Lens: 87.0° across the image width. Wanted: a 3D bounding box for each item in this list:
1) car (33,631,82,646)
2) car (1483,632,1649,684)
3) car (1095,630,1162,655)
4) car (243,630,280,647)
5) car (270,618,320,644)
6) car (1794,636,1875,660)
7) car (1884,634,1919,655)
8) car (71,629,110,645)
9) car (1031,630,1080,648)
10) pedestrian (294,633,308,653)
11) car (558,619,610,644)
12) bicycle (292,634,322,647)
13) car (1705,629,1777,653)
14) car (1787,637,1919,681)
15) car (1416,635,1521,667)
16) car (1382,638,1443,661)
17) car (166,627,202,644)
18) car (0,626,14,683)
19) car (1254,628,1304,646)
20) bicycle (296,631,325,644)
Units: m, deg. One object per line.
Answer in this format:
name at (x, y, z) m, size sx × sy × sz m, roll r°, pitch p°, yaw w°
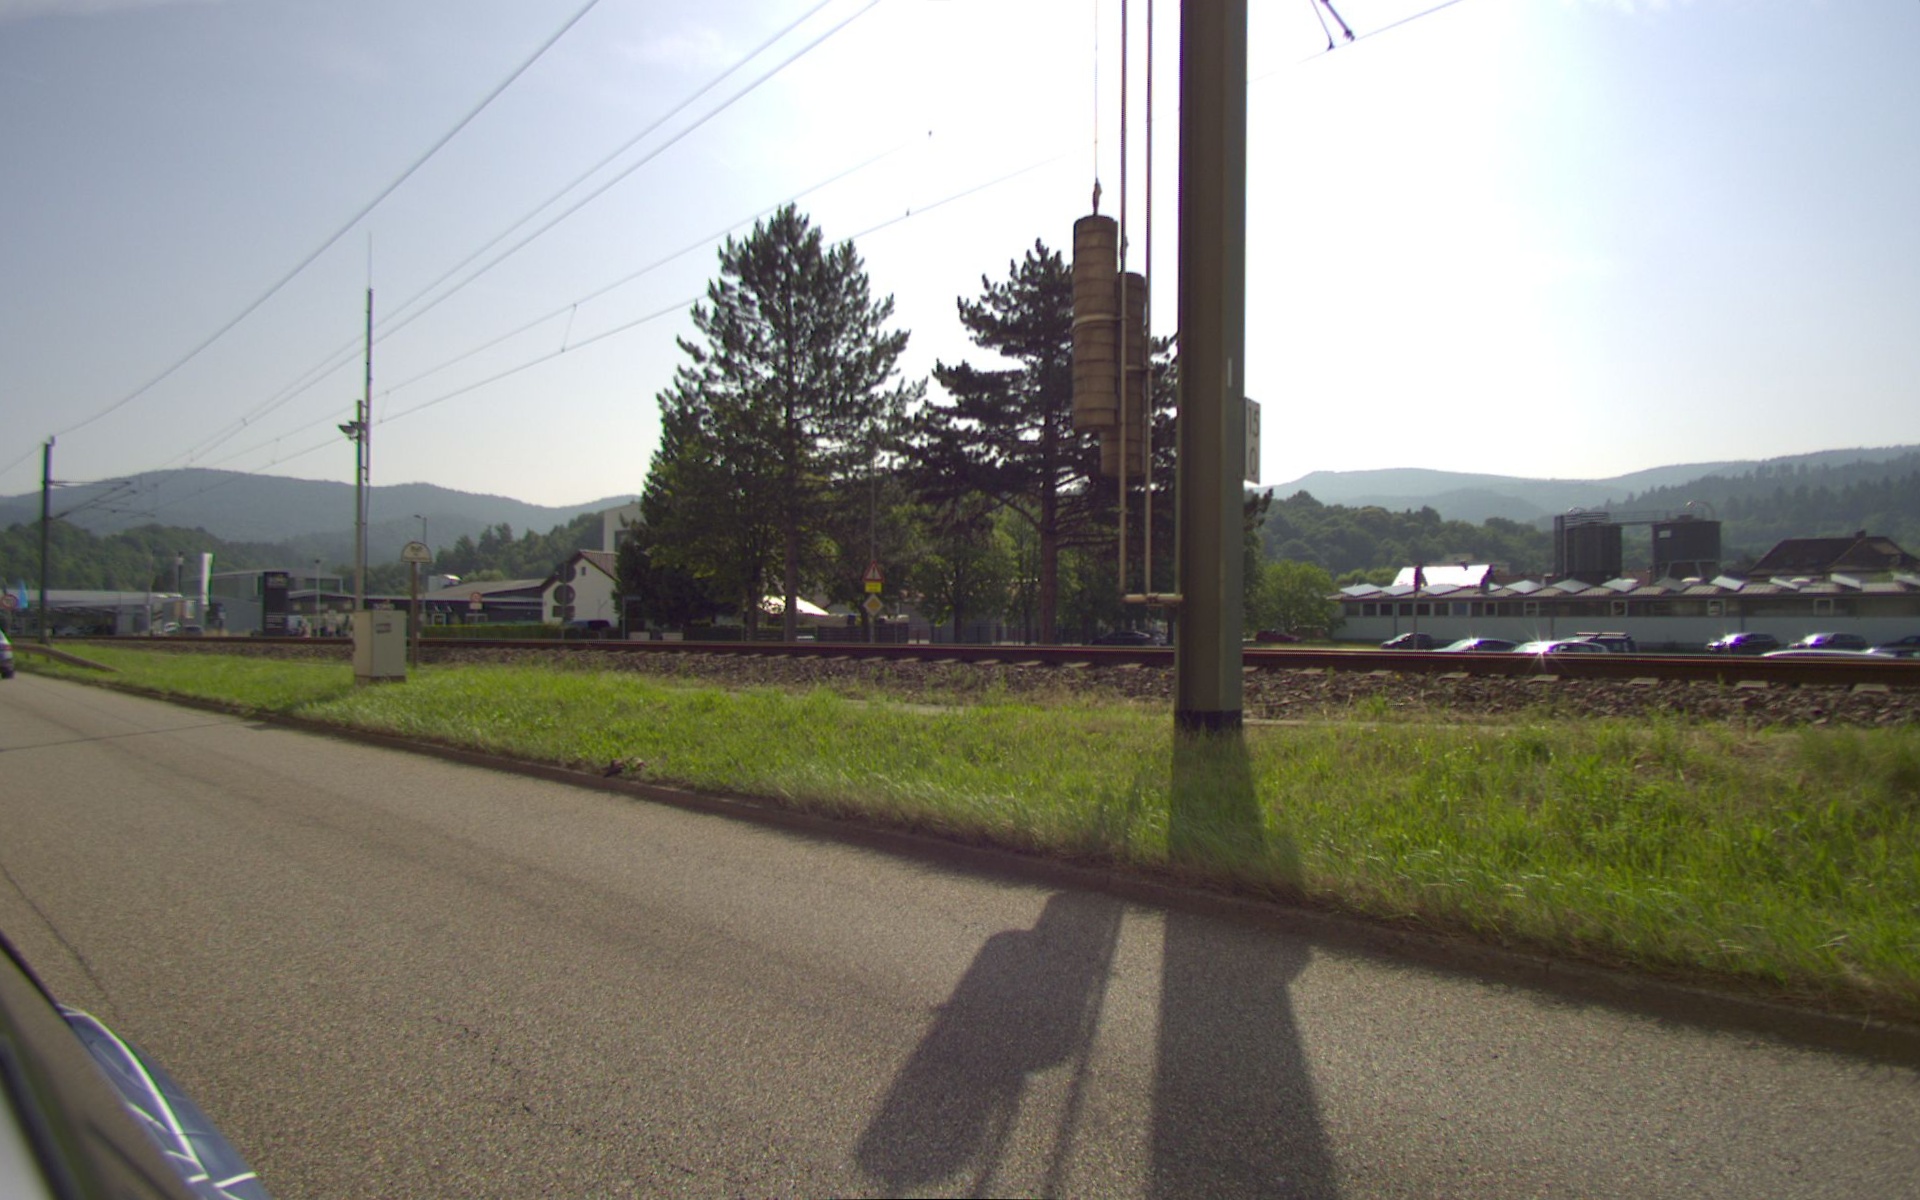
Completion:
car at (-104.760, 4.435, 117.536) m, size 1.658 × 1.539 × 3.924 m, roll -1°, pitch 1°, yaw 34°
car at (17.545, 1.666, 29.414) m, size 3.796 × 1.454 × 1.689 m, roll 0°, pitch -2°, yaw -3°
car at (10.952, 2.743, 65.873) m, size 3.986 × 1.560 × 1.666 m, roll -1°, pitch -2°, yaw 32°
car at (-73.660, 4.087, 106.732) m, size 3.990 × 1.676 × 1.852 m, roll 0°, pitch -1°, yaw 34°
car at (-72.434, 3.374, 110.150) m, size 6.145 × 2.653 × 2.353 m, roll 1°, pitch -1°, yaw 35°
car at (51.184, 2.784, 59.305) m, size 3.434 × 1.335 × 1.429 m, roll -1°, pitch -2°, yaw 34°
car at (60.943, 2.812, 64.043) m, size 3.534 × 1.335 × 1.438 m, roll -1°, pitch -2°, yaw 40°
car at (-100.512, 4.229, 117.062) m, size 1.636 × 1.634 × 4.042 m, roll -2°, pitch 1°, yaw -12°
car at (7.900, 3.202, 83.841) m, size 3.955 × 1.464 × 1.465 m, roll 0°, pitch -2°, yaw 9°
pedestrian at (-46.040, 2.995, 70.700) m, size 0.672 × 1.342 × 0.569 m, roll -1°, pitch -2°, yaw 32°
car at (-21.160, 1.779, 56.995) m, size 2.889 × 1.362 × 1.378 m, roll -1°, pitch -2°, yaw 37°
bicycle at (-58.523, 3.643, 90.753) m, size 0.726 × 1.139 × 2.154 m, roll -1°, pitch -2°, yaw 27°
car at (48.828, 2.532, 63.348) m, size 3.456 × 1.457 × 1.562 m, roll -1°, pitch -2°, yaw 34°
car at (27.613, 1.768, 30.681) m, size 3.796 × 1.272 × 1.568 m, roll 0°, pitch -2°, yaw -3°
car at (22.170, 2.214, 44.189) m, size 3.792 × 1.342 × 1.690 m, roll 0°, pitch -2°, yaw -6°
car at (33.733, 3.707, 75.541) m, size 3.801 × 1.655 × 1.687 m, roll 0°, pitch -2°, yaw 2°
car at (-77.971, 3.557, 101.648) m, size 4.358 × 1.701 × 1.506 m, roll -1°, pitch 0°, yaw 34°
car at (-25.930, 1.380, 26.059) m, size 4.292 × 1.416 × 1.750 m, roll -1°, pitch -3°, yaw 40°
car at (27.727, 3.196, 87.964) m, size 3.843 × 1.492 × 1.477 m, roll -1°, pitch -2°, yaw 35°
bicycle at (-59.886, 3.471, 93.347) m, size 0.726 × 1.139 × 2.154 m, roll -1°, pitch -2°, yaw 27°
